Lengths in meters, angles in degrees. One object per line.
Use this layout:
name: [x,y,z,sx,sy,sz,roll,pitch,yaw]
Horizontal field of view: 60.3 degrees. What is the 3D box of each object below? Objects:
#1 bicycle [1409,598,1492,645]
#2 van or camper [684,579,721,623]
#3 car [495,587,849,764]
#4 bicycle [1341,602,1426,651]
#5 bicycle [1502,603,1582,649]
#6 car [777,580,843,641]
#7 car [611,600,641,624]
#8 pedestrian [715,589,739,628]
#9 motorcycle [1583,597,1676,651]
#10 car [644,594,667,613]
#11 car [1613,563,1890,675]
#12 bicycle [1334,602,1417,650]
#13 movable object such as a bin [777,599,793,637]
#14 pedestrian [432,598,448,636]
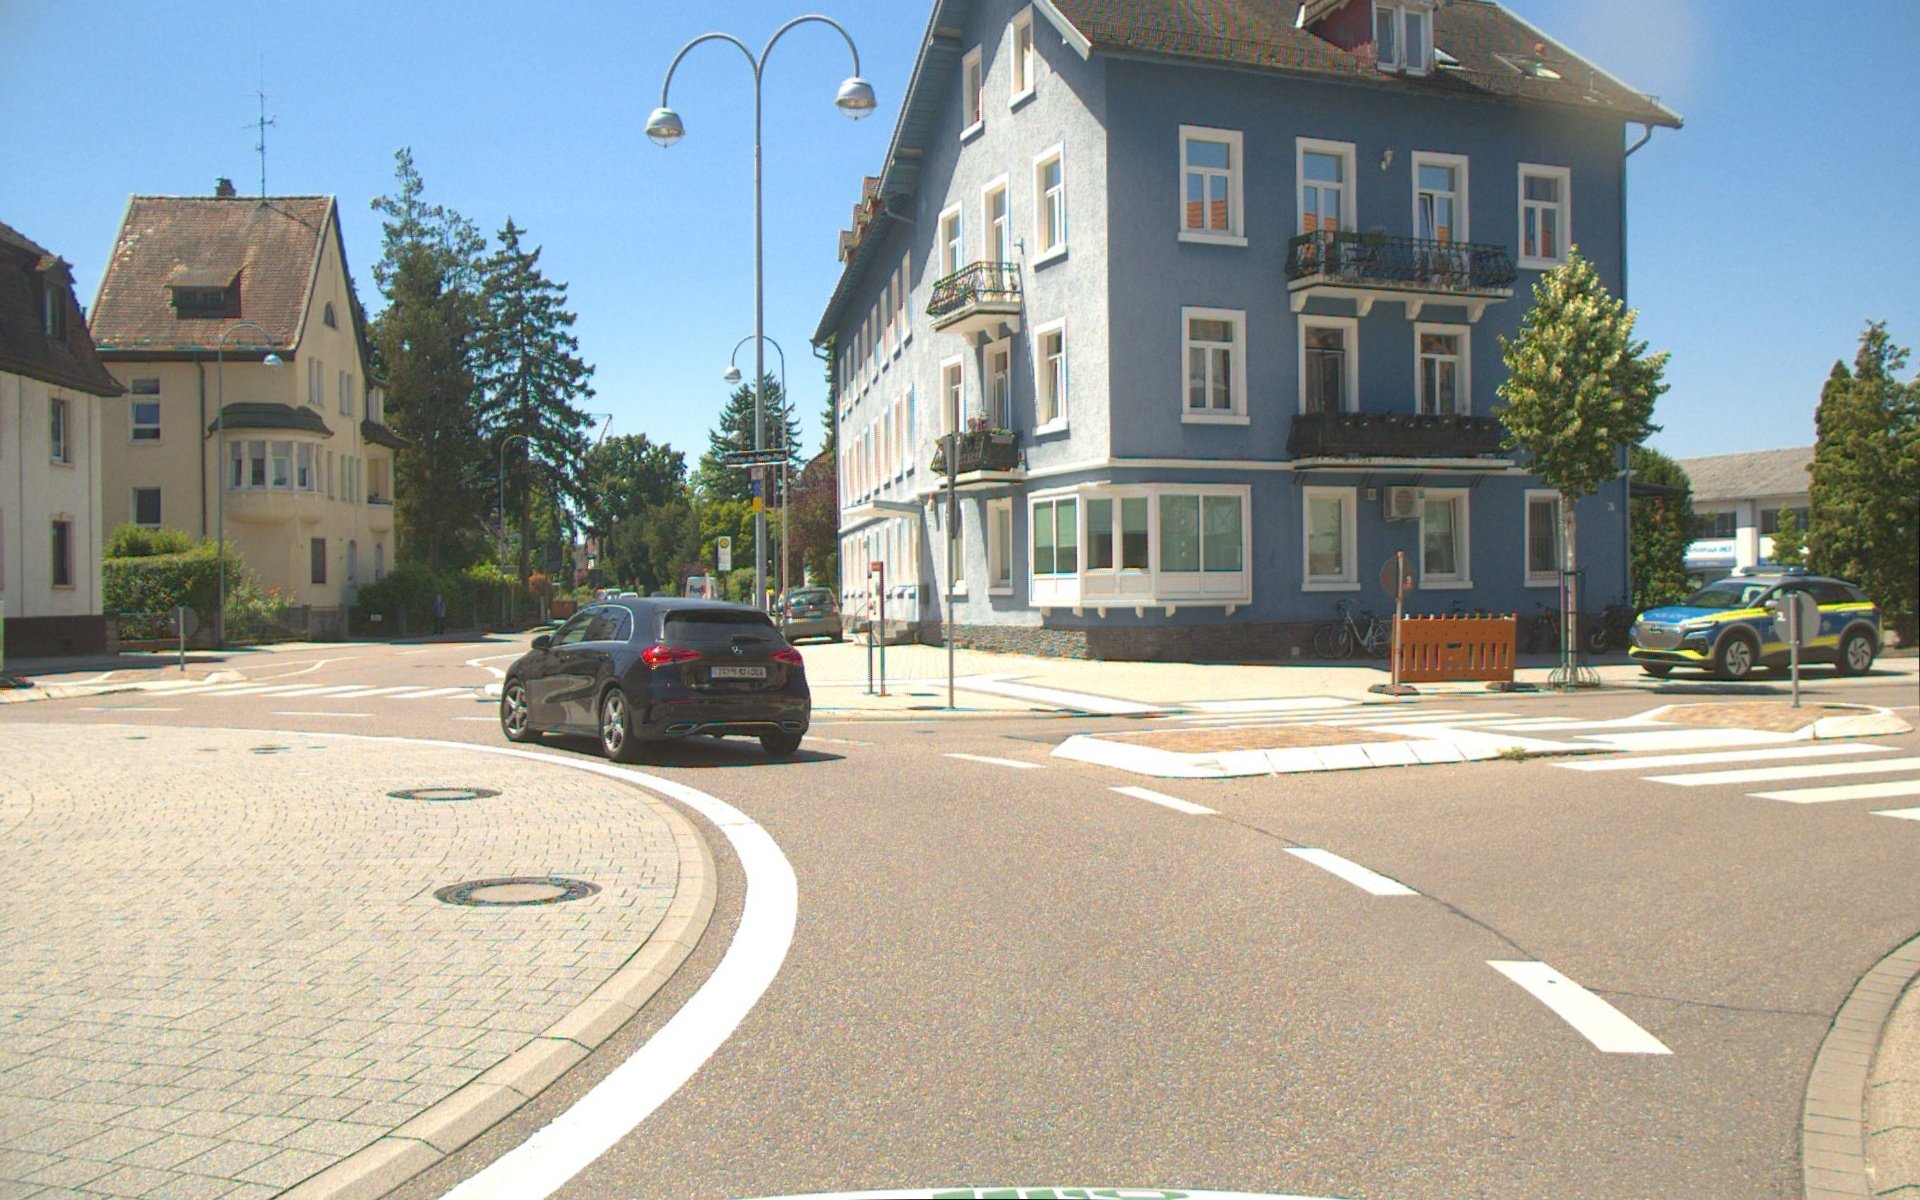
bicycle: [10.009,0.438,33.736,1.683,0.922,0.478,0,2,-22]
van or camper: [-15.759,0.050,101.027,2.165,2.656,3.991,0,0,-10]
car: [-2.863,0.640,15.753,1.936,1.452,3.953,1,-1,-33]
bicycle: [8.377,0.513,32.695,1.683,0.922,0.437,0,2,-22]
bicycle: [12.224,0.541,34.753,1.683,0.922,0.478,0,2,-22]
car: [-4.246,0.258,46.445,1.609,1.533,3.557,-4,1,-8]
car: [-23.773,0.849,117.891,1.957,1.680,3.991,0,0,-9]
pedestrian: [-7.978,0.287,56.602,0.653,1.308,0.587,-4,1,-1]
motorcycle: [13.848,0.486,34.214,1.871,1.070,0.584,0,2,-19]
car: [-28.782,0.312,156.199,1.956,1.747,3.992,0,0,-8]
car: [13.235,0.269,27.674,4.176,1.774,1.894,0,1,-22]
bicycle: [8.337,0.504,33.163,1.683,0.922,0.437,0,2,-22]
movable object such as a bin: [-5.367,0.534,50.838,0.277,1.143,1.186,-2,0,3]
pedestrian: [-20.858,0.678,66.318,0.512,1.535,0.473,0,0,-2]
